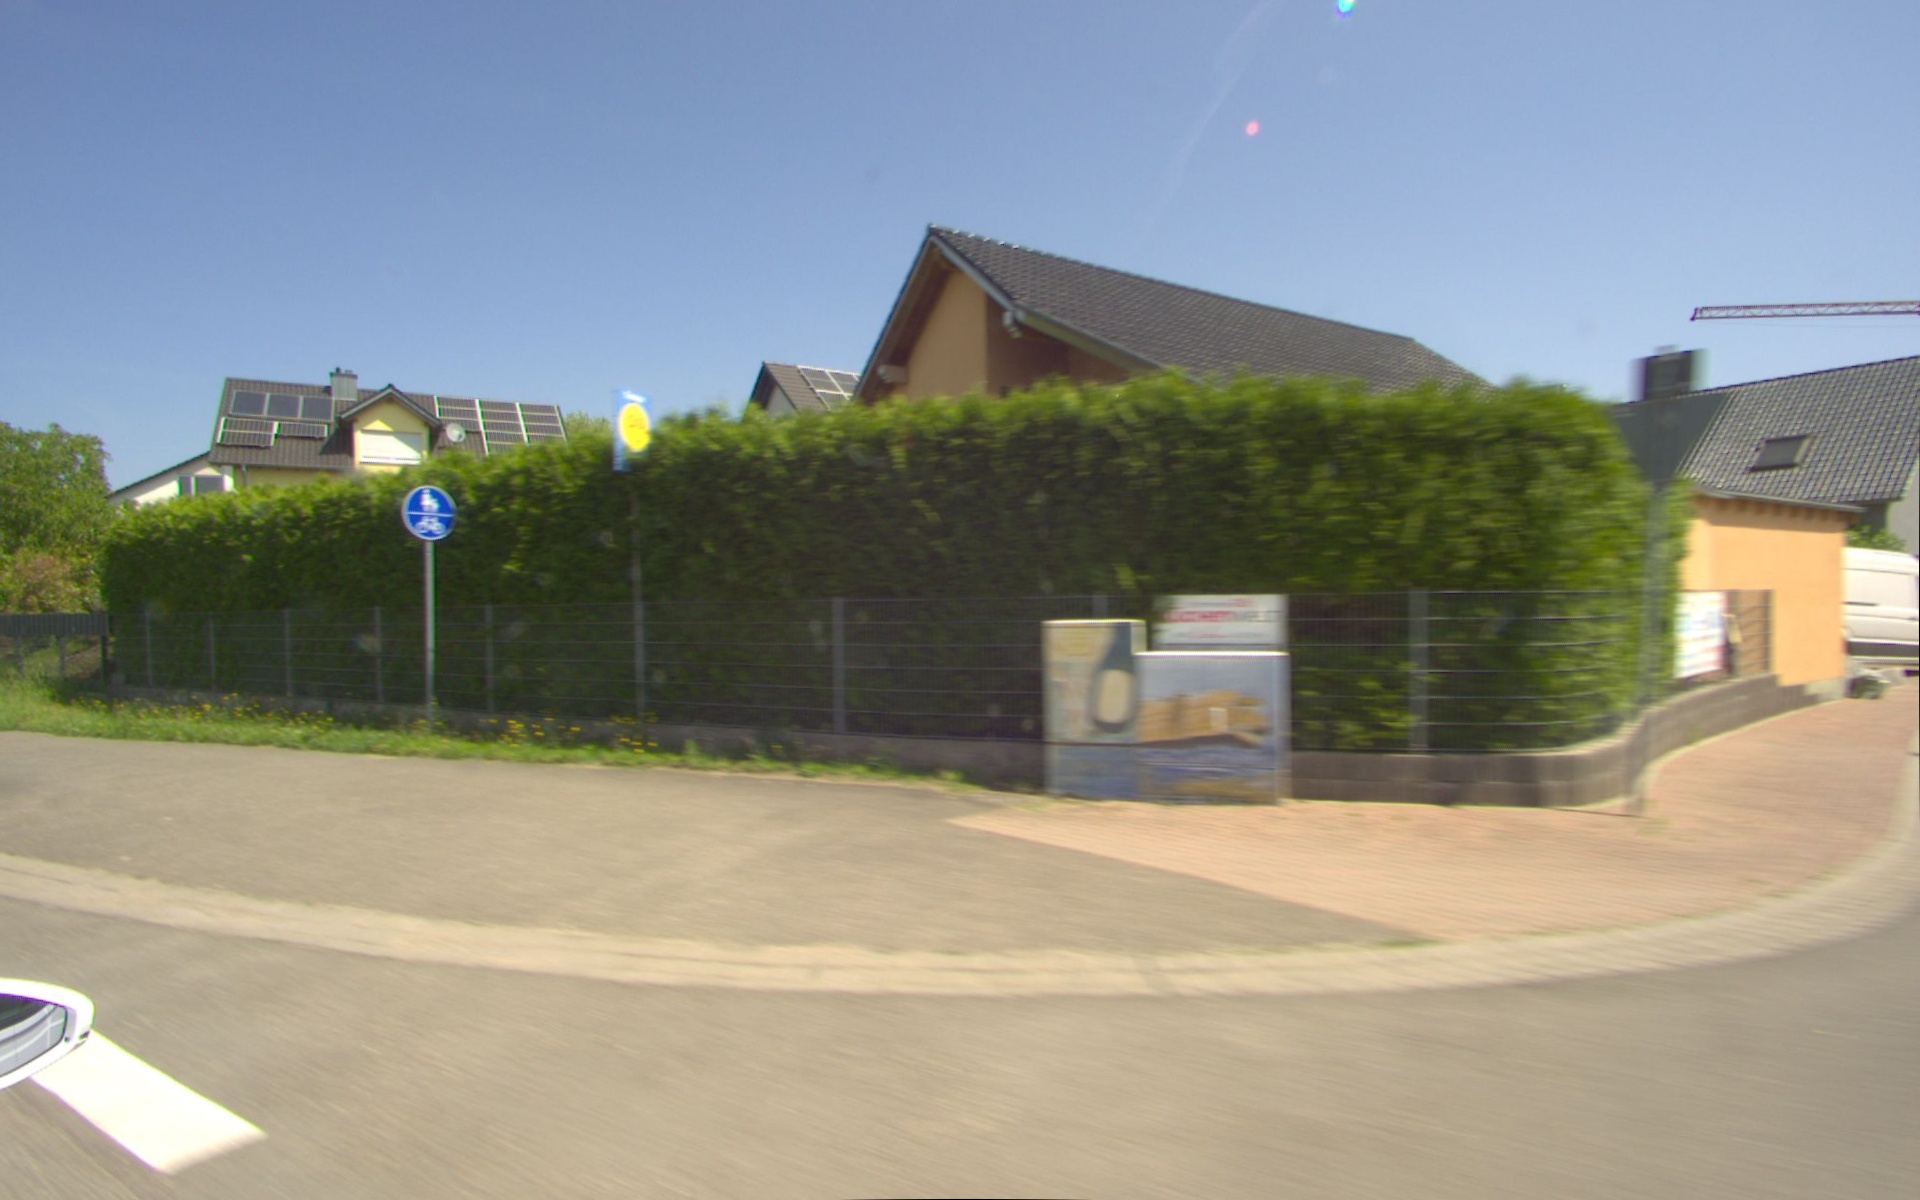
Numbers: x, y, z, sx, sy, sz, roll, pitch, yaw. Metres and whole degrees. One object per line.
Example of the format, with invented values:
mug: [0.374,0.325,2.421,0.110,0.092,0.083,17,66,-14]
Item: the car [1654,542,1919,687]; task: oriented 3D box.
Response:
car: [17.850,0.240,20.808,6.762,2.664,2.450,0,2,-24]
